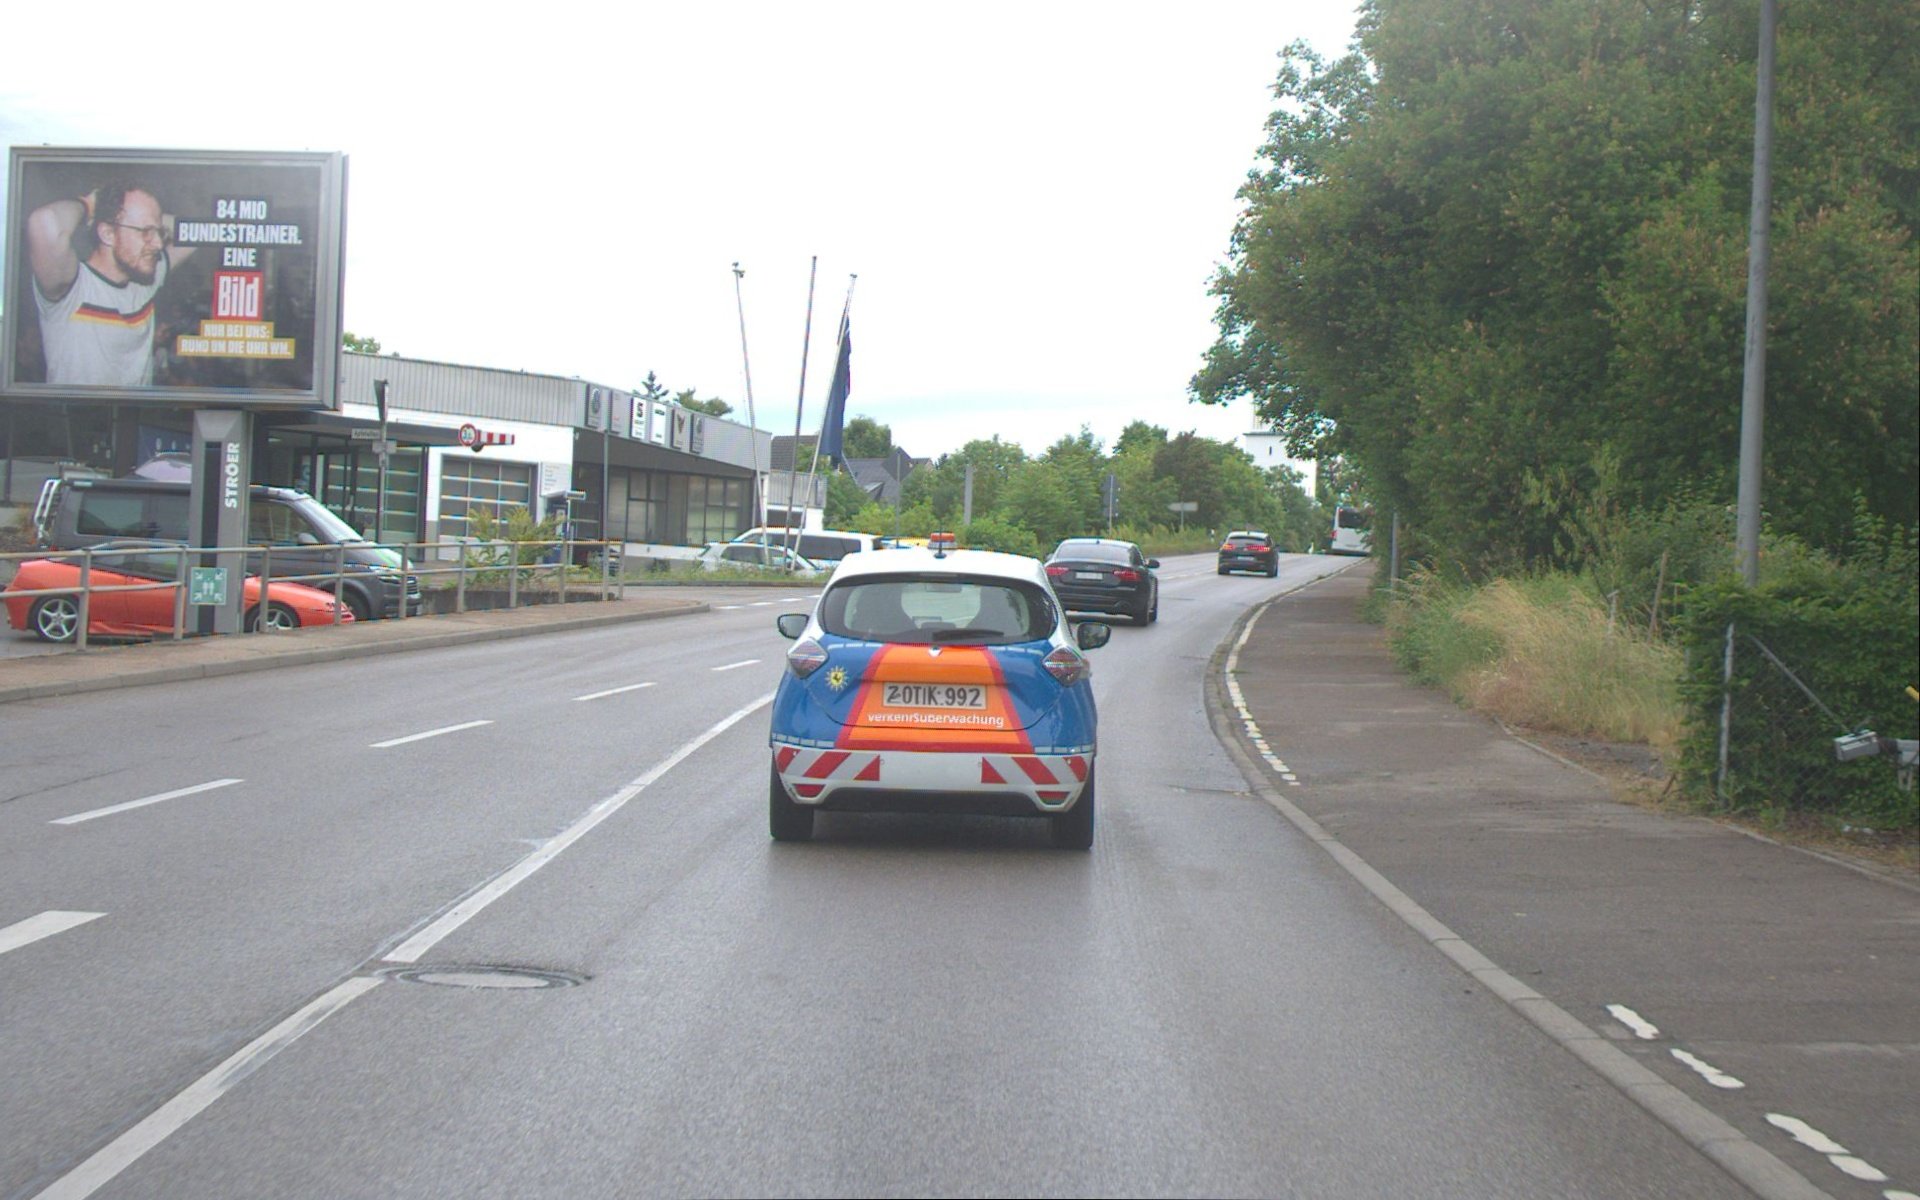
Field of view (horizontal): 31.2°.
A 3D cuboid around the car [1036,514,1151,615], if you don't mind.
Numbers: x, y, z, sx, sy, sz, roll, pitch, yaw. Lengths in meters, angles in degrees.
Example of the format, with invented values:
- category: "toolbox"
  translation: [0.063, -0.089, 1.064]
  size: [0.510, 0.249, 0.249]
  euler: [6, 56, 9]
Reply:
- category: "car"
  translation: [2.247, -0.595, 57.146]
  size: [1.802, 1.584, 3.562]
  euler: [2, 1, 3]

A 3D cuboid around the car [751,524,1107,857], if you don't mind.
- category: "car"
  translation: [-0.081, 0.450, 19.082]
  size: [1.657, 1.587, 3.568]
  euler: [3, 0, 3]

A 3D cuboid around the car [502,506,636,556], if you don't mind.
- category: "car"
  translation: [-12.315, -2.173, 108.151]
  size: [4.019, 1.411, 1.949]
  euler: [3, 2, 42]

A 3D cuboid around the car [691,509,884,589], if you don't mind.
- category: "car"
  translation: [-4.200, -1.252, 84.000]
  size: [4.413, 1.791, 1.934]
  euler: [2, 1, 7]

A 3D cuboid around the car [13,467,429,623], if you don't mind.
- category: "car"
  translation: [-9.693, -0.725, 45.375]
  size: [5.067, 1.864, 1.823]
  euler: [2, 1, -1]

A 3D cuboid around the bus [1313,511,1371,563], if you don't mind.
- category: "bus"
  translation: [24.365, -3.974, 219.821]
  size: [2.911, 3.159, 11.466]
  euler: [2, 1, 3]

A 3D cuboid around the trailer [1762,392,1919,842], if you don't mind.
- category: "trailer"
  translation: [7.151, 0.190, 19.527]
  size: [4.533, 2.392, 1.950]
  euler: [3, 1, -7]

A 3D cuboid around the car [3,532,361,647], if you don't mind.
- category: "car"
  translation: [-9.549, -0.140, 42.437]
  size: [4.091, 1.263, 1.770]
  euler: [2, 1, -5]

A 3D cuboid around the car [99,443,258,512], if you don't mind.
- category: "car"
  translation: [-18.086, -2.823, 79.751]
  size: [1.819, 1.473, 4.019]
  euler: [2, 2, 16]

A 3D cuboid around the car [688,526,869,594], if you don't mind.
- category: "car"
  translation: [-4.279, -0.957, 81.378]
  size: [4.010, 1.473, 1.823]
  euler: [2, 2, 7]

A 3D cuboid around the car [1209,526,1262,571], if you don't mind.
- category: "car"
  translation: [8.880, -1.650, 110.748]
  size: [1.614, 1.402, 3.497]
  euler: [2, 1, 5]

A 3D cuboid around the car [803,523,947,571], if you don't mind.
- category: "car"
  translation: [-2.512, -1.593, 102.362]
  size: [4.063, 1.286, 1.804]
  euler: [2, 2, 5]
